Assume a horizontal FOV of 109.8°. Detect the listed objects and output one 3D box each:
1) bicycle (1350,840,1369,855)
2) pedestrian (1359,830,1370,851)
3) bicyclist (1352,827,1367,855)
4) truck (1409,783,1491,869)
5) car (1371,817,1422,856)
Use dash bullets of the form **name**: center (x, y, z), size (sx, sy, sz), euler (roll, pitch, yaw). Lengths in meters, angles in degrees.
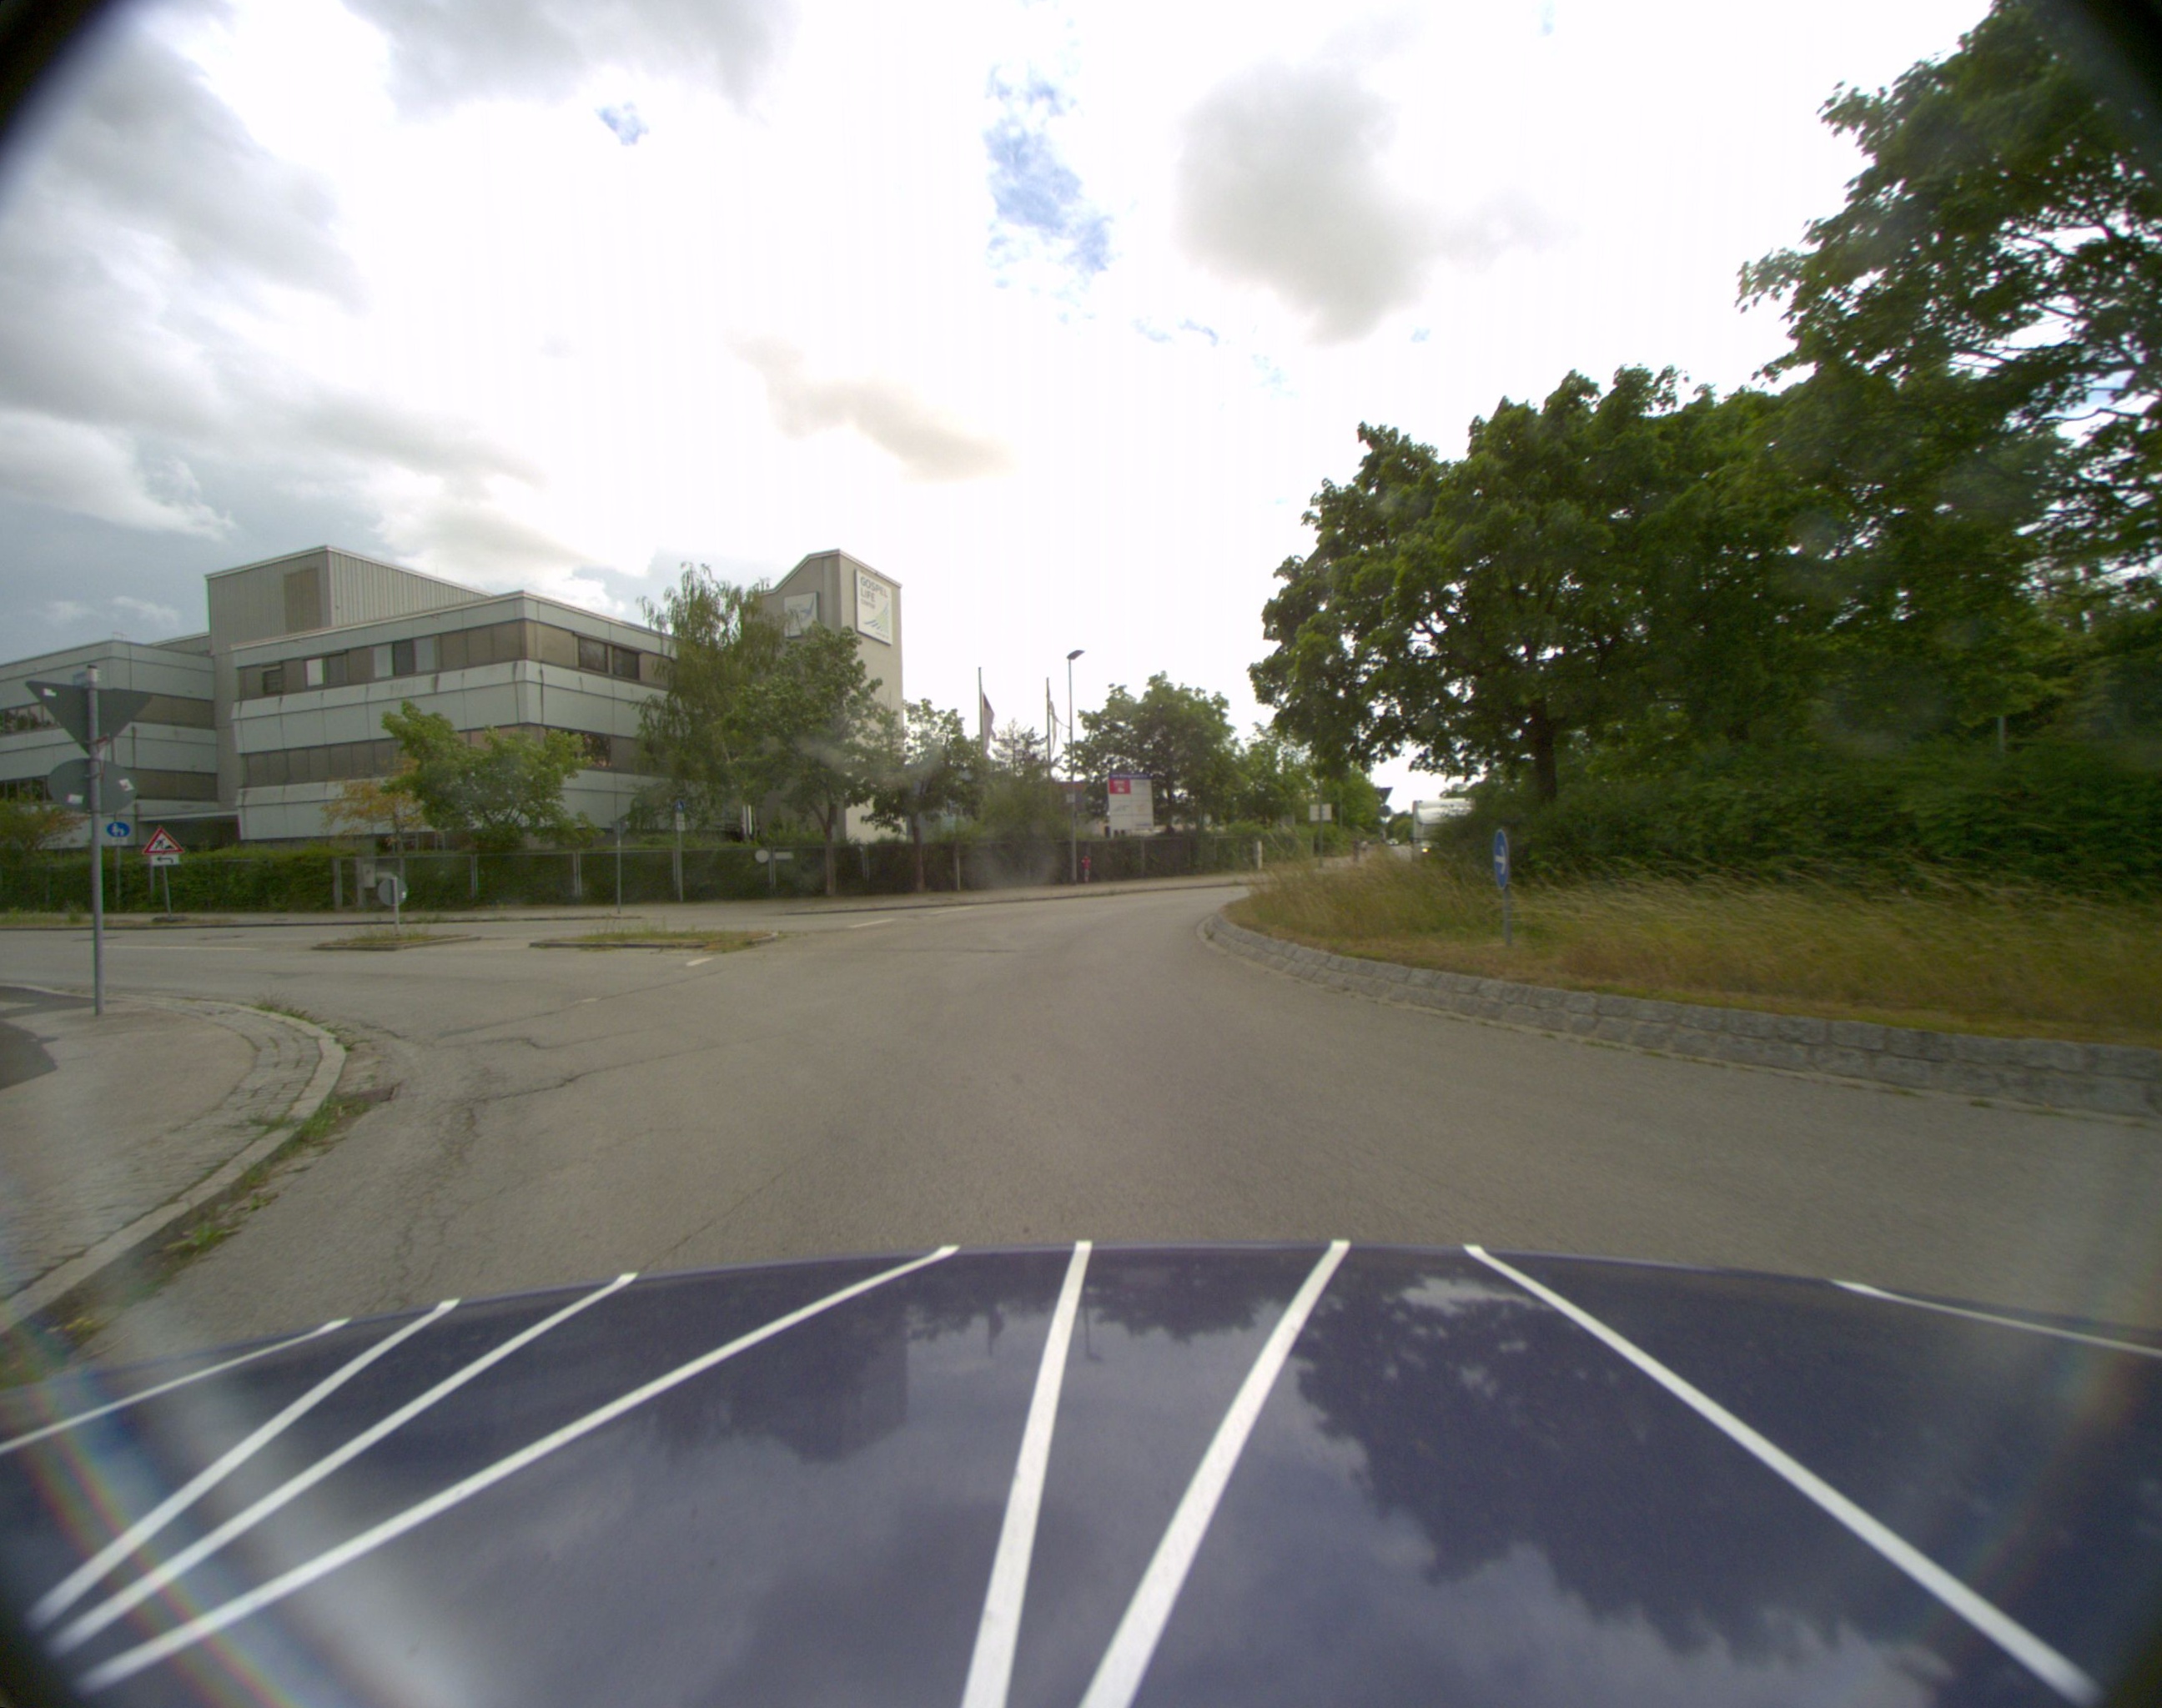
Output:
- **bicycle**: center (18.047, -0.424, 49.272), size (0.964, 0.871, 2.498), euler (1, 2, 15)
- **pedestrian**: center (21.191, -1.021, 56.719), size (0.544, 1.522, 0.844), euler (-1, 1, 5)
- **bicyclist**: center (18.002, -0.874, 49.146), size (0.810, 1.778, 0.979), euler (1, 2, 15)
- **truck**: center (16.615, -1.224, 34.661), size (2.610, 3.428, 7.516), euler (-2, 1, 21)
- **car**: center (18.910, -1.049, 45.827), size (2.610, 2.114, 5.731), euler (-2, 1, 21)
